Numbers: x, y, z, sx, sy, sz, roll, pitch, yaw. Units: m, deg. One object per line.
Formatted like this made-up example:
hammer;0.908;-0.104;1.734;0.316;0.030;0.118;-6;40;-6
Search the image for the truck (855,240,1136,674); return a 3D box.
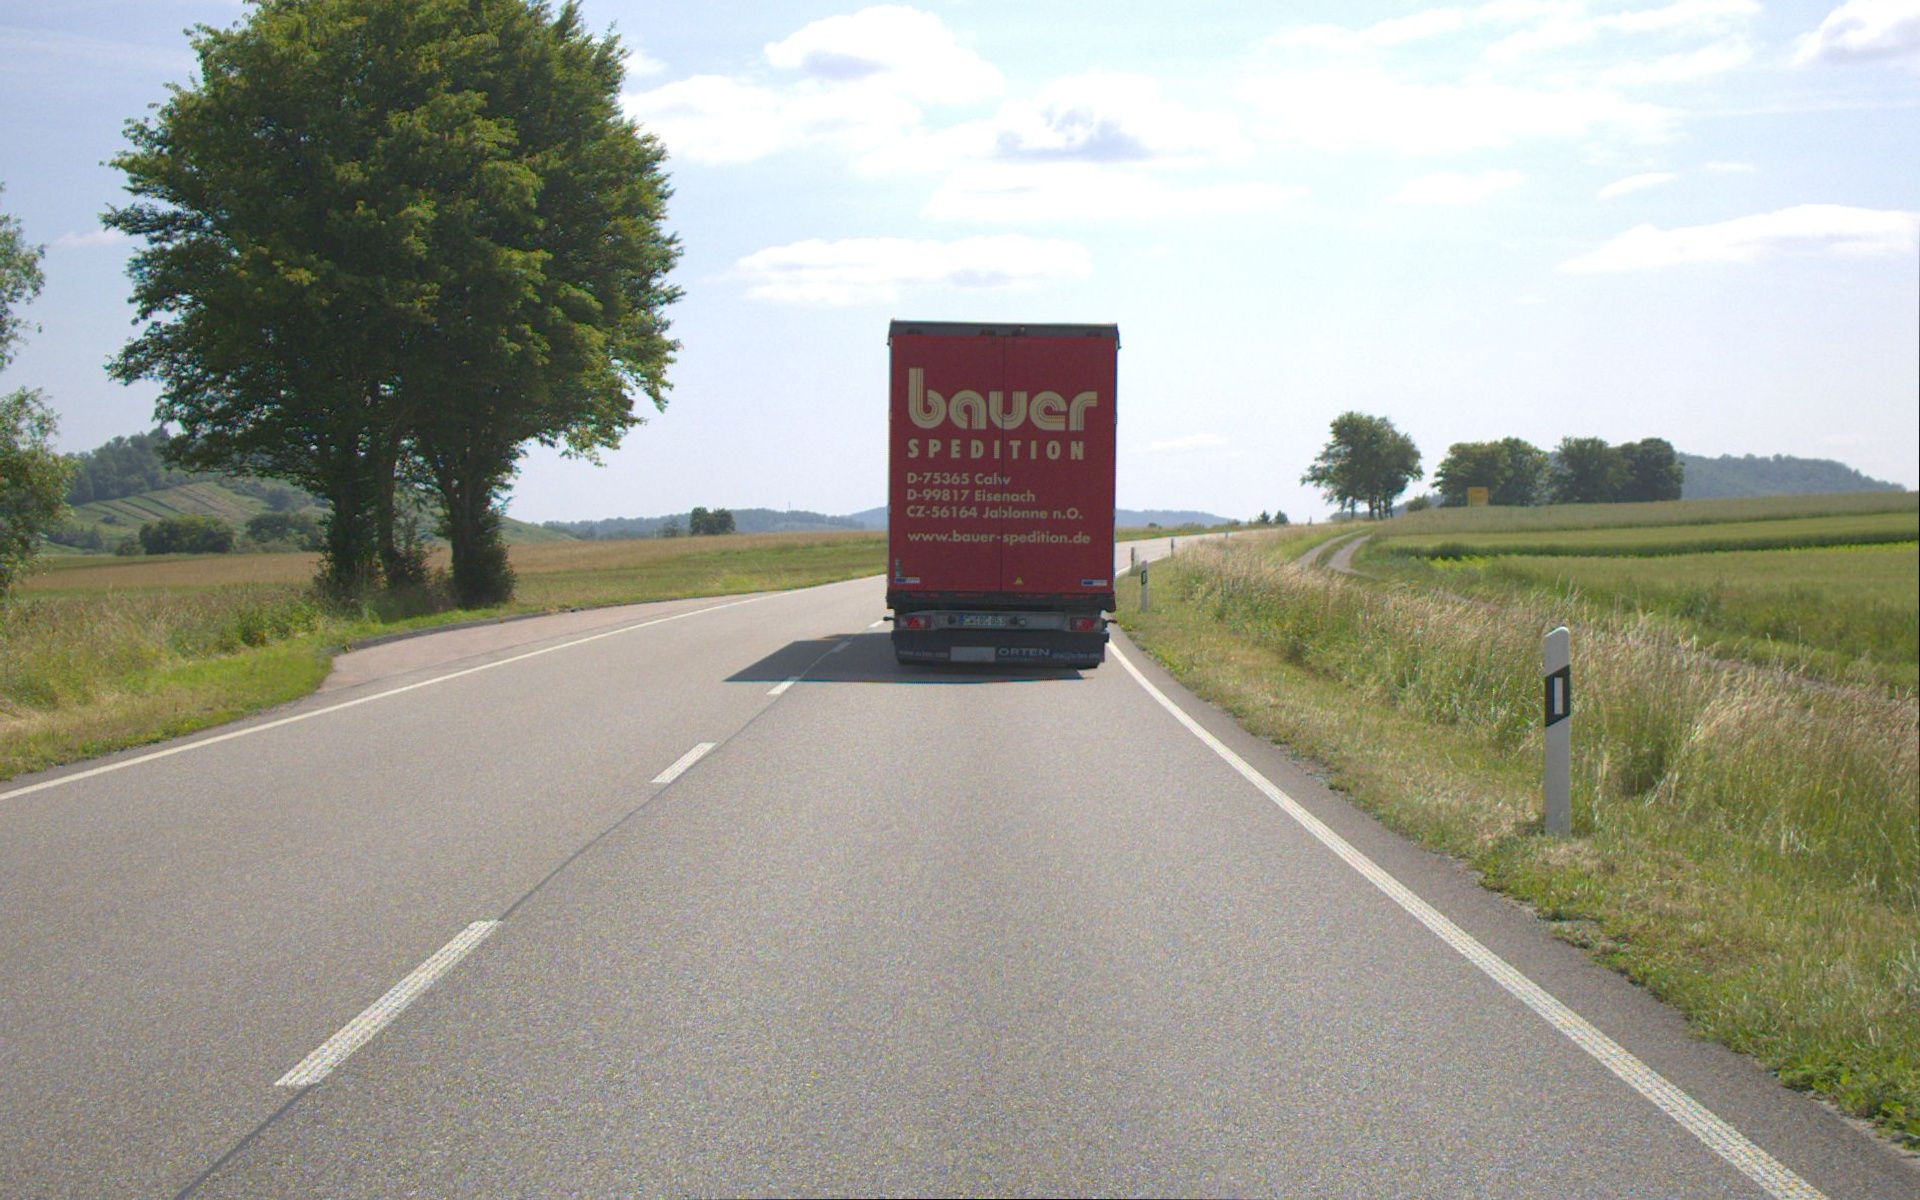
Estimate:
truck;0.282;-1.618;42.393;2.975;4.697;9.366;1;1;-1
